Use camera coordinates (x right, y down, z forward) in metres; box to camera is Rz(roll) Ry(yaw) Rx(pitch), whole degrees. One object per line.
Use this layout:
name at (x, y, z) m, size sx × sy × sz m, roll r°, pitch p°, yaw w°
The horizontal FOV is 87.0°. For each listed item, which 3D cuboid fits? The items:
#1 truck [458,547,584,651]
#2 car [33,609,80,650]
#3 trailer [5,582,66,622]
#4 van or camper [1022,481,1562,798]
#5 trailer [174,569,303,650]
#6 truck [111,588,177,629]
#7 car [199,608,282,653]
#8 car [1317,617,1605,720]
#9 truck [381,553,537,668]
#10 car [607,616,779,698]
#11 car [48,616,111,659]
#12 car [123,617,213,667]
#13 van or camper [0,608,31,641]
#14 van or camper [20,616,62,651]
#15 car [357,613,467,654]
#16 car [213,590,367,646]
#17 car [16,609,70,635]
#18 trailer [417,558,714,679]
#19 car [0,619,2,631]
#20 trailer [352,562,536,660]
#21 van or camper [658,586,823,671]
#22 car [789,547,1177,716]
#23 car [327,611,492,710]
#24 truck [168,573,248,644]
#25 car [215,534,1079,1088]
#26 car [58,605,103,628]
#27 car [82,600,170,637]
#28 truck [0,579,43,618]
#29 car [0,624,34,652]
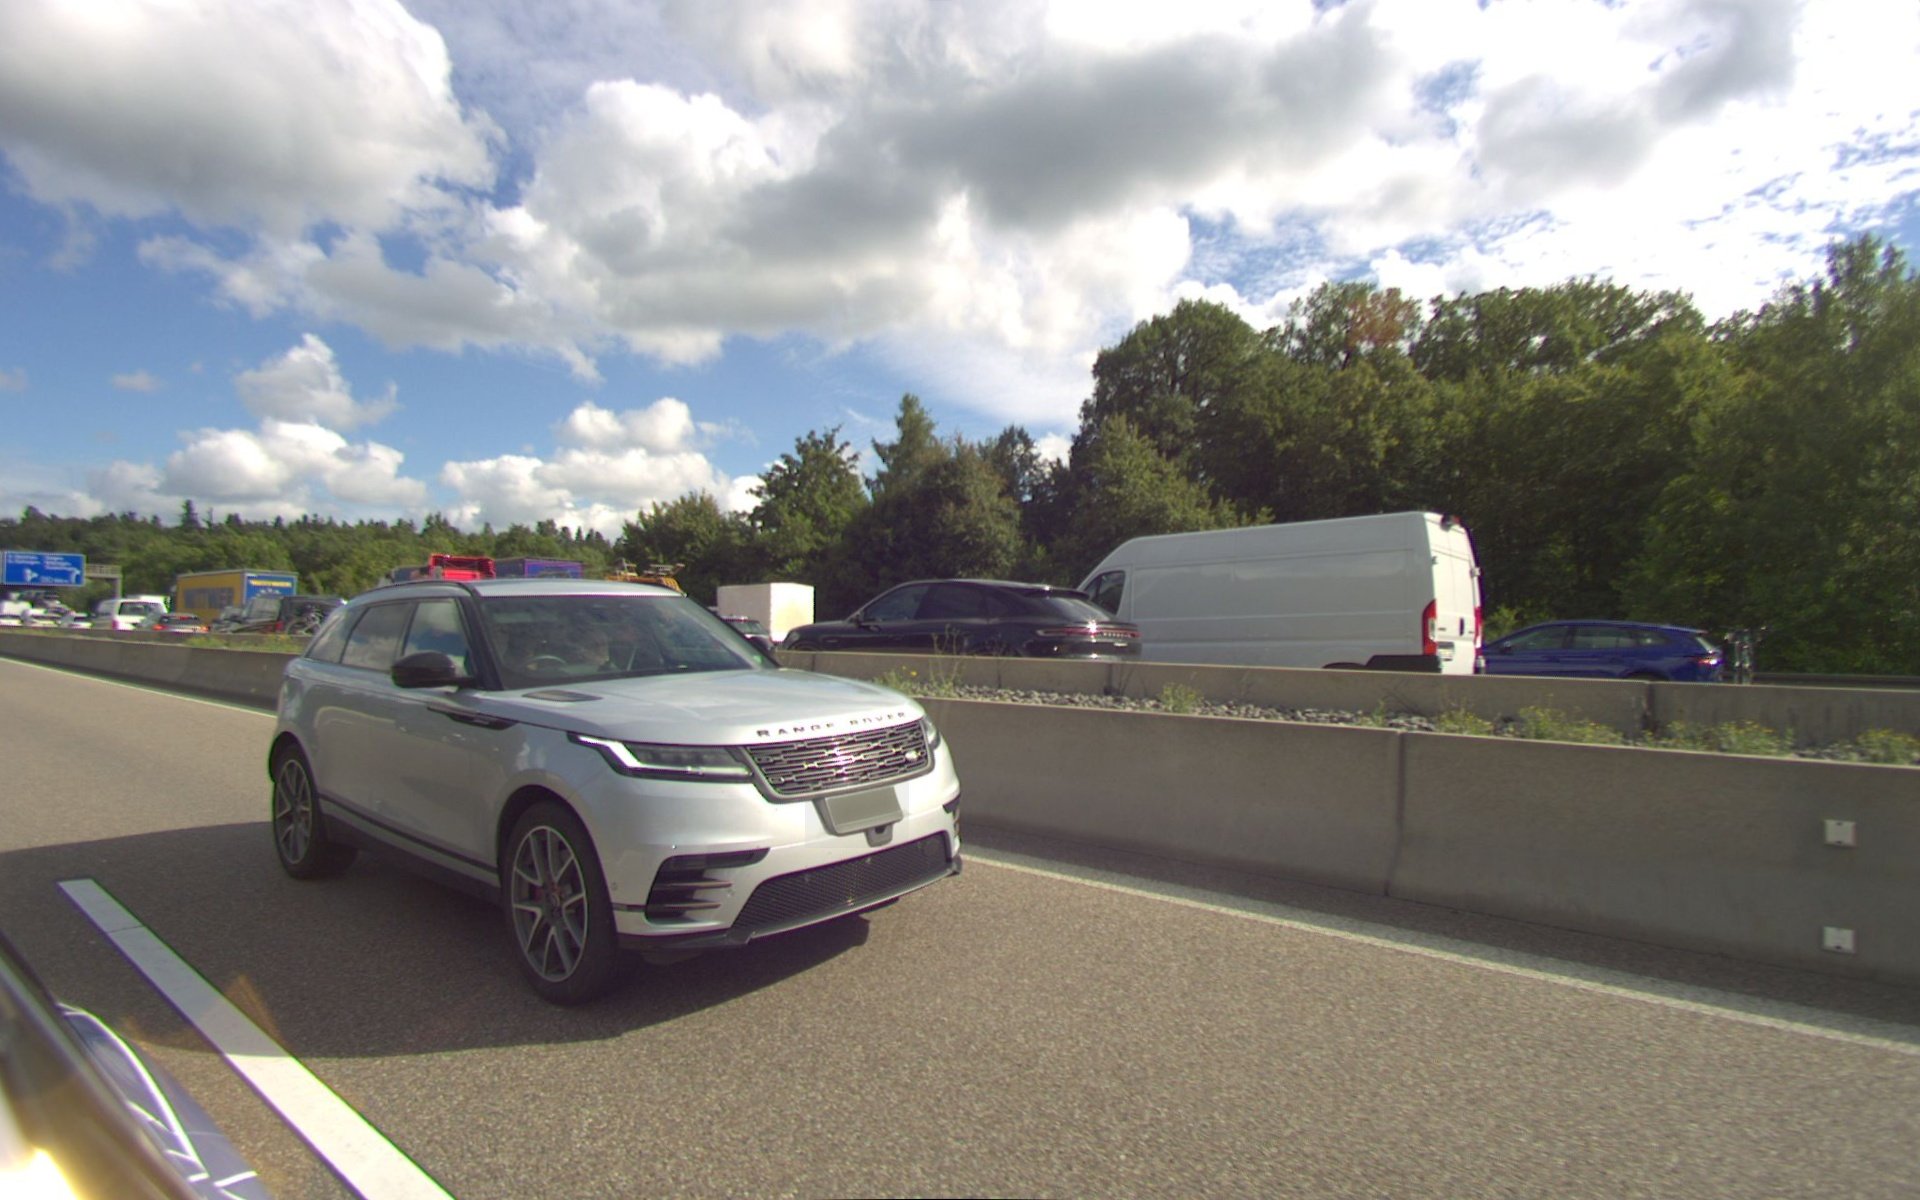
truck at (-18.764, 0.035, 43.166) m, size 5.448 × 4.181 × 2.783 m, roll -1°, pitch -2°, yaw 40°
car at (-70.081, 2.250, 78.483) m, size 5.399 × 2.985 × 1.973 m, roll -1°, pitch 1°, yaw 41°
trailer at (-96.944, 0.129, 105.962) m, size 15.996 × 4.004 × 2.801 m, roll 1°, pitch 1°, yaw 41°
van or camper at (3.957, 0.438, 13.038) m, size 6.239 × 3.196 × 2.117 m, roll -1°, pitch 0°, yaw 40°
trailer at (-41.883, 0.427, 58.454) m, size 13.649 × 4.266 × 2.743 m, roll 1°, pitch 1°, yaw 40°
truck at (-60.172, 0.632, 74.533) m, size 7.944 × 2.822 × 2.304 m, roll -1°, pitch 1°, yaw 41°
car at (-30.987, 1.288, 43.554) m, size 4.838 × 1.780 × 1.728 m, roll -1°, pitch 0°, yaw 40°
car at (9.157, 1.152, 18.720) m, size 4.426 × 1.547 × 1.972 m, roll 1°, pitch 1°, yaw 42°
truck at (-18.989, 0.419, 38.191) m, size 6.847 × 3.968 × 2.748 m, roll -1°, pitch -1°, yaw 40°
car at (-5.891, 1.177, 22.155) m, size 3.997 × 1.603 × 1.620 m, roll -1°, pitch 0°, yaw 40°
car at (-42.475, 1.766, 48.791) m, size 4.292 × 1.829 × 1.670 m, roll 1°, pitch 1°, yaw 40°
car at (-28.237, 1.458, 36.042) m, size 3.997 × 1.615 × 1.706 m, roll -1°, pitch 0°, yaw 40°
van or camper at (-87.028, 2.194, 92.596) m, size 6.630 × 2.731 × 2.365 m, roll 1°, pitch 1°, yaw 42°
van or camper at (-77.203, 2.762, 84.970) m, size 5.748 × 2.731 × 2.024 m, roll 1°, pitch 1°, yaw 41°
car at (-16.700, 0.985, 30.771) m, size 3.997 × 1.135 × 1.569 m, roll -1°, pitch 0°, yaw 40°
car at (-18.326, 0.481, 27.526) m, size 6.227 × 1.359 × 1.796 m, roll -1°, pitch 0°, yaw 40°
car at (-51.320, 1.239, 56.628) m, size 3.997 × 1.387 × 1.739 m, roll -1°, pitch -1°, yaw 40°
trailer at (-13.674, 0.632, 33.713) m, size 14.207 × 3.361 × 2.700 m, roll -1°, pitch -1°, yaw 40°
car at (-70.956, 1.850, 73.459) m, size 4.602 × 0.864 × 1.618 m, roll -1°, pitch 1°, yaw 41°
trailer at (-25.087, 0.567, 48.573) m, size 14.034 × 4.150 × 2.780 m, roll -1°, pitch 0°, yaw 41°
van or camper at (-8.814, 1.087, 40.156) m, size 7.189 × 3.100 × 2.546 m, roll -1°, pitch -1°, yaw 40°
car at (0.135, 0.328, 11.682) m, size 4.285 × 1.603 × 1.817 m, roll -1°, pitch -1°, yaw 40°
car at (-11.827, 1.188, 21.638) m, size 4.292 × 1.829 × 1.670 m, roll 1°, pitch 1°, yaw 40°
truck at (-46.146, 0.469, 62.084) m, size 5.613 × 4.179 × 2.708 m, roll 1°, pitch 1°, yaw 40°
car at (-2.034, 0.638, 5.326) m, size 5.101 × 1.619 × 1.881 m, roll -1°, pitch 0°, yaw 40°
car at (-58.958, 1.078, 67.855) m, size 3.833 × 1.411 × 1.716 m, roll 1°, pitch 1°, yaw 40°
car at (-34.223, 0.709, 41.460) m, size 5.484 × 1.364 × 1.831 m, roll 1°, pitch 1°, yaw 40°
truck at (-103.843, -0.134, 111.938) m, size 5.710 × 4.266 × 2.824 m, roll -1°, pitch 0°, yaw 41°
car at (-63.062, 2.499, 67.057) m, size 4.292 × 1.756 × 1.973 m, roll -1°, pitch 1°, yaw 41°
